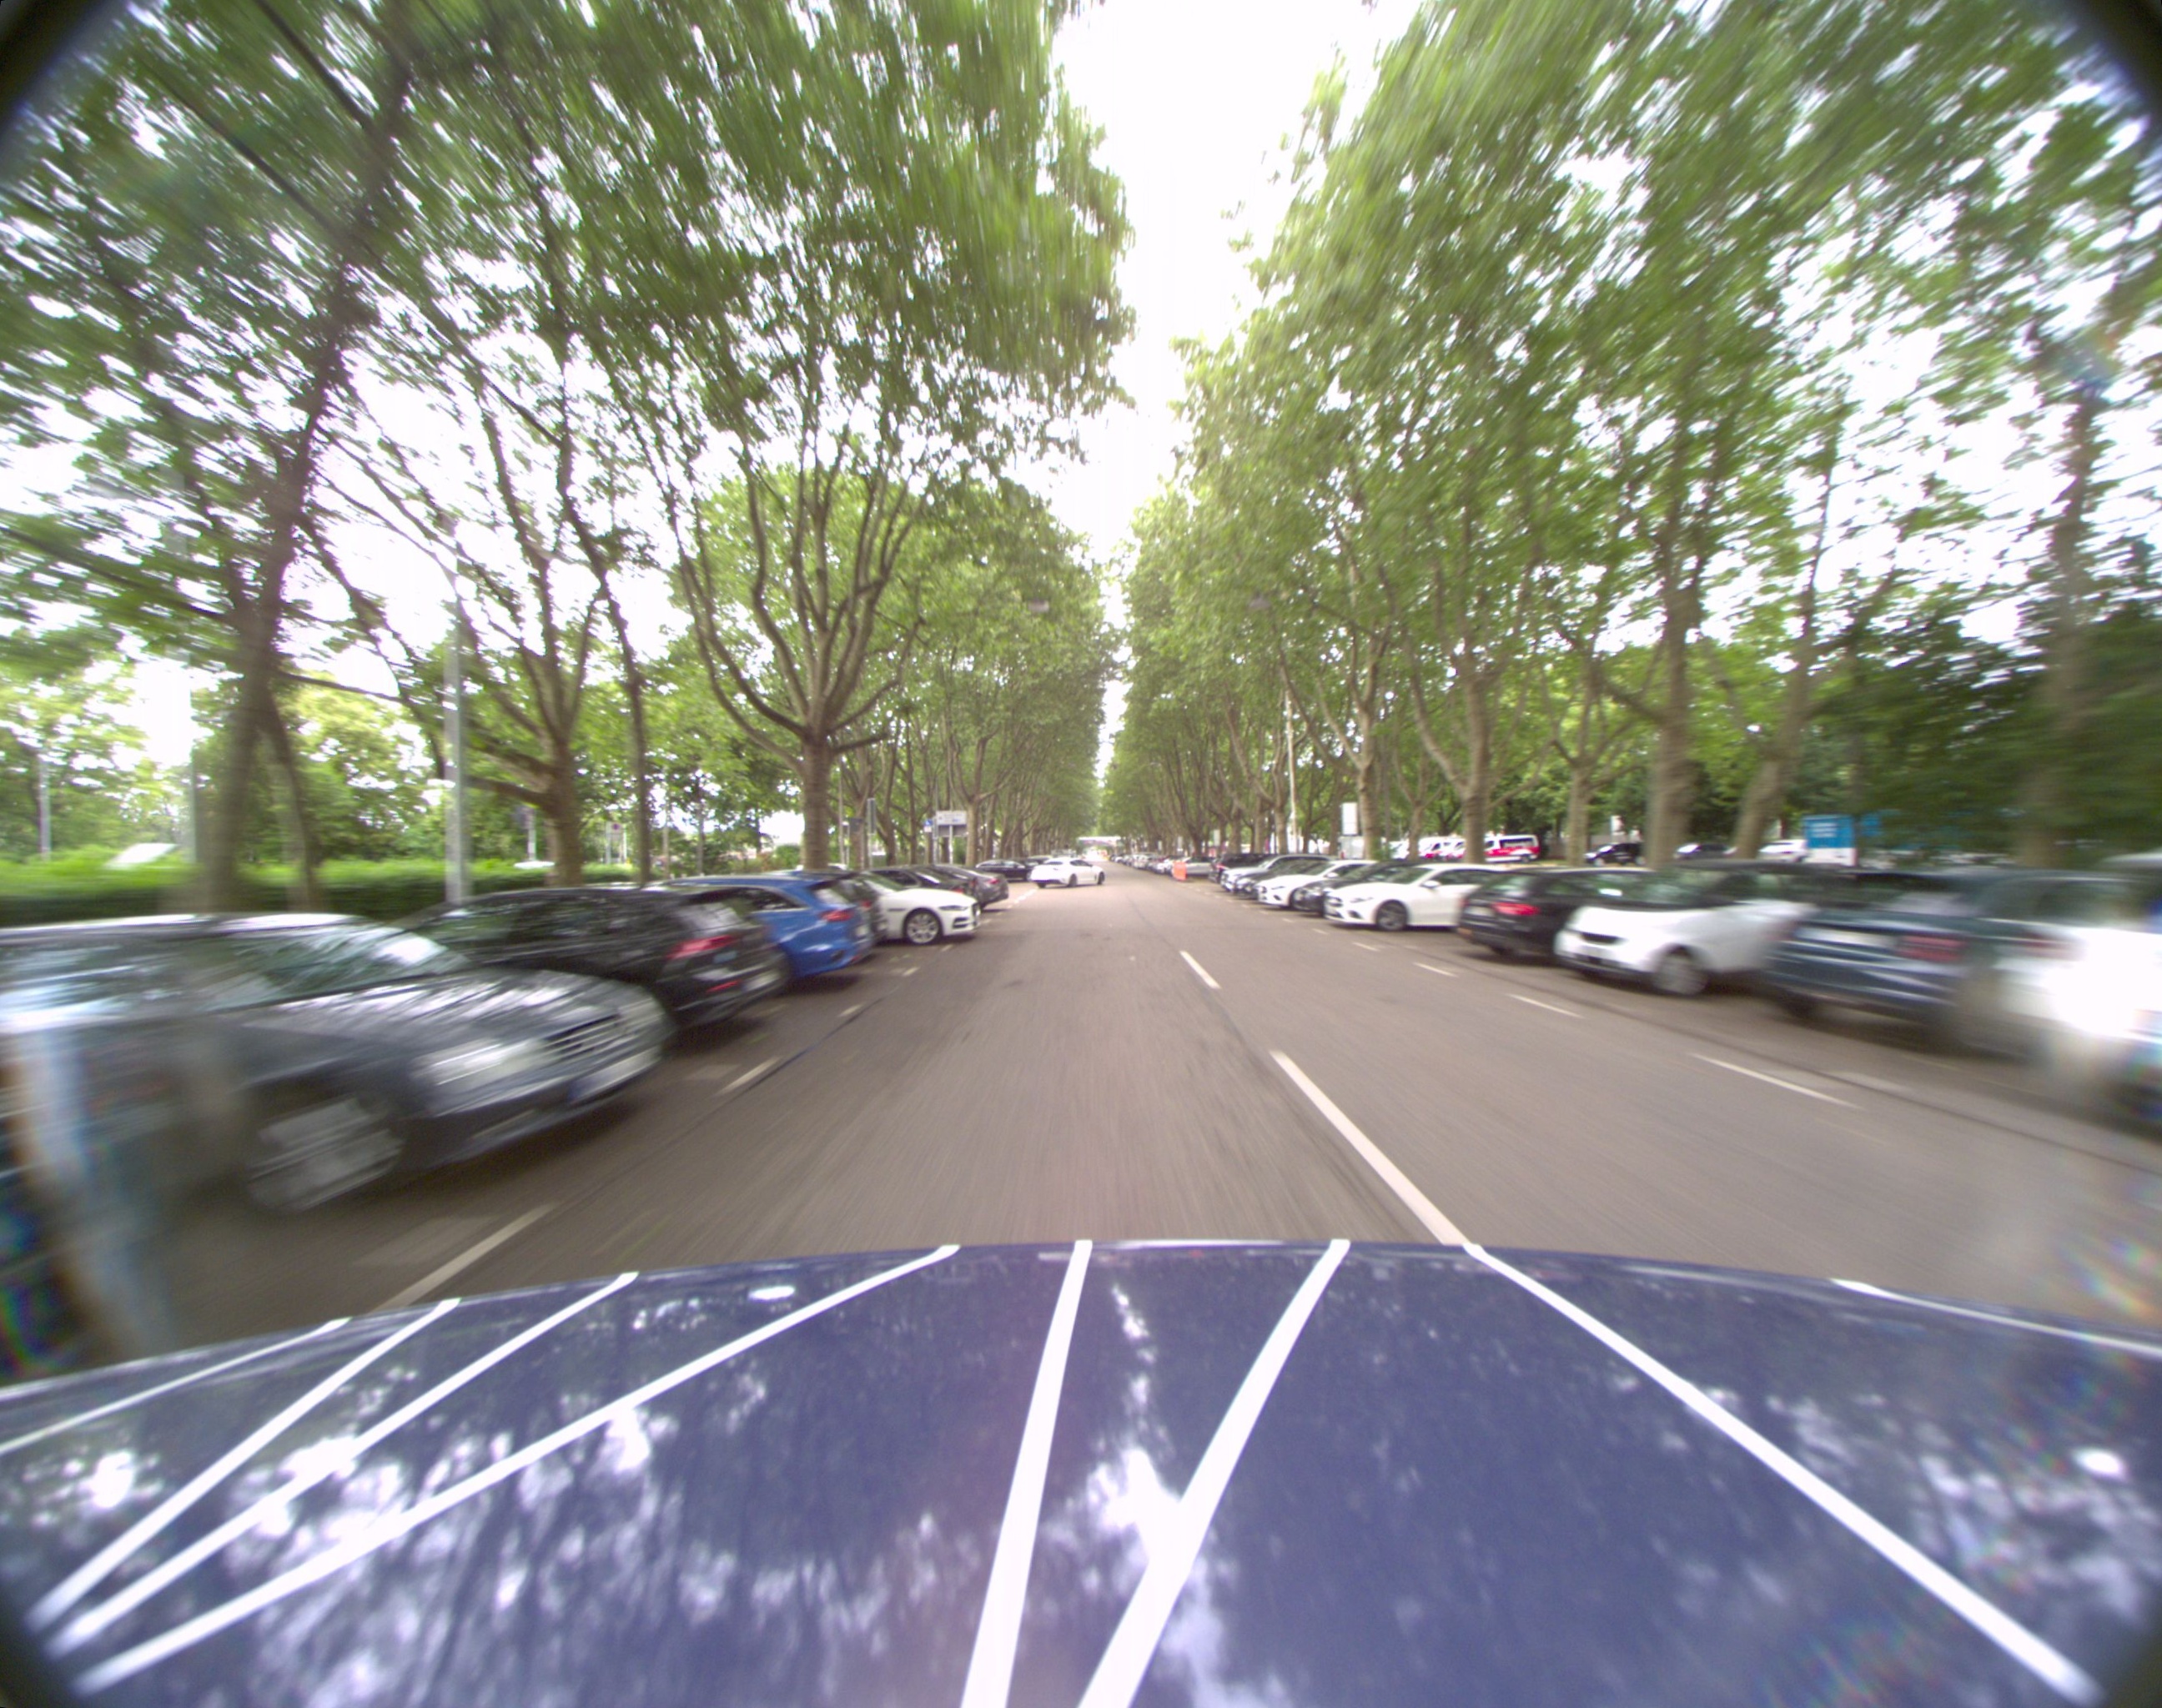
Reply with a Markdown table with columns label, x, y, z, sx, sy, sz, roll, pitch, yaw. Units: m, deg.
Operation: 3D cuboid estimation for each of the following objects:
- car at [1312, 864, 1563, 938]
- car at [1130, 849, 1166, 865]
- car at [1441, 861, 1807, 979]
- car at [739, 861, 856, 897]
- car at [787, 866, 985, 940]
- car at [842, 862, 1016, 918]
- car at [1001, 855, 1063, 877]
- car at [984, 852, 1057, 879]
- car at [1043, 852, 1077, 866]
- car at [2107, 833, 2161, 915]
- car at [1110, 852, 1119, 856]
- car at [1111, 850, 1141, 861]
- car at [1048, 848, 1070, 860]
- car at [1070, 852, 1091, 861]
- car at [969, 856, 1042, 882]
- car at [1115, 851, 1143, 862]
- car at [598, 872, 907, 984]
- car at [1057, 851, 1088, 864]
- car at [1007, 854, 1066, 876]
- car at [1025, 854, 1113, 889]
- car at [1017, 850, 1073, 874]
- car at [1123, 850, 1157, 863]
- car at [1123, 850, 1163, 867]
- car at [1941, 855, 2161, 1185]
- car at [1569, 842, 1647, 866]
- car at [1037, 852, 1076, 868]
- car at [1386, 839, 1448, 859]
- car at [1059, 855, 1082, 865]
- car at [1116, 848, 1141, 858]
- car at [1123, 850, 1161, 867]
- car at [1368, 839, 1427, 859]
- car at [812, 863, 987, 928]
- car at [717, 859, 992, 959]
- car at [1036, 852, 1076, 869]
| label | x | y | z | sx | sy | sz | roll | pitch | yaw |
| --- | --- | --- | --- | --- | --- | --- | --- | --- | --- |
| car | 7.481 | 0.969 | 16.252 | 4.420 | 1.435 | 2.046 | 1 | 0 | -4 |
| car | 8.716 | 0.393 | 98.585 | 4.491 | 1.740 | 2.001 | -3 | 0 | 6 |
| car | 7.708 | 0.901 | 11.113 | 3.996 | 1.445 | 1.856 | -2 | 1 | 2 |
| car | -12.035 | 1.059 | 32.431 | 4.288 | 1.453 | 1.784 | 0 | 0 | -1 |
| car | -4.200 | 1.040 | 16.780 | 3.839 | 1.409 | 1.719 | -2 | 0 | 2 |
| car | -4.315 | 1.014 | 21.970 | 4.597 | 1.409 | 1.719 | -2 | 0 | 4 |
| car | -3.970 | 0.959 | 61.619 | 4.673 | 1.514 | 2.001 | -3 | 0 | 7 |
| car | -3.997 | 0.743 | 51.028 | 4.676 | 1.514 | 2.000 | -3 | 0 | -1 |
| car | -2.980 | 0.744 | 108.936 | 4.673 | 1.740 | 2.001 | -3 | 0 | 6 |
| car | 23.651 | 0.327 | 14.489 | 5.362 | 1.587 | 2.094 | -2 | 1 | 0 |
| car | 8.922 | 0.089 | 201.989 | 2.307 | 0.919 | 1.132 | -2 | -2 | -1 |
| car | 7.812 | 0.266 | 131.178 | 4.919 | 1.817 | 2.000 | -2 | -2 | -2 |
| car | -4.232 | -0.033 | 143.844 | 3.997 | 2.274 | 2.000 | -2 | 1 | 1 |
| car | -0.189 | 0.640 | 178.606 | 4.919 | 1.817 | 2.000 | -2 | -2 | -2 |
| car | -4.726 | 0.930 | 48.220 | 4.383 | 1.469 | 1.999 | -2 | 1 | -1 |
| car | 8.807 | 0.402 | 139.022 | 4.919 | 1.817 | 2.000 | -2 | -2 | -2 |
| car | -4.999 | 1.104 | 11.946 | 4.025 | 1.439 | 1.784 | -2 | 0 | 2 |
| car | -1.268 | 0.574 | 121.679 | 4.673 | 1.740 | 2.001 | -3 | 0 | 6 |
| car | -3.702 | 0.902 | 63.912 | 4.673 | 1.514 | 2.001 | -3 | 0 | 6 |
| car | -0.504 | 0.809 | 36.984 | 1.995 | 1.375 | 4.687 | -3 | 0 | 32 |
| car | -3.214 | 0.694 | 68.859 | 4.673 | 1.891 | 2.001 | -3 | 0 | 6 |
| car | 8.998 | 0.434 | 115.968 | 4.919 | 1.817 | 2.000 | -2 | -2 | -2 |
| car | 7.283 | 0.561 | 88.932 | 4.491 | 1.740 | 2.001 | -3 | 0 | 6 |
| car | 7.621 | 0.838 | 4.005 | 3.996 | 1.672 | 1.855 | -2 | 1 | 2 |
| car | 34.996 | -0.011 | 50.532 | 3.998 | 1.478 | 1.800 | -2 | 1 | -3 |
| car | -3.107 | 0.770 | 98.079 | 4.673 | 1.740 | 2.001 | -3 | 0 | 6 |
| car | 35.428 | -0.523 | 80.326 | 5.466 | 2.009 | 2.393 | 1 | 1 | -1 |
| car | -1.918 | 0.997 | 136.900 | 3.998 | 1.641 | 1.999 | -2 | 1 | -3 |
| car | 9.761 | -0.123 | 157.255 | 4.919 | 1.817 | 2.000 | -2 | -2 | -2 |
| car | 7.507 | 0.527 | 92.894 | 4.491 | 1.740 | 2.001 | -3 | 0 | 6 |
| car | 35.210 | -0.565 | 84.640 | 5.466 | 2.009 | 2.393 | -2 | 1 | -1 |
| car | -4.486 | 1.013 | 19.342 | 4.029 | 1.409 | 1.910 | -2 | 0 | -4 |
| car | -4.120 | 0.981 | 14.427 | 4.535 | 1.613 | 2.054 | -2 | 0 | 2 |
| car | -3.062 | 0.807 | 94.188 | 4.673 | 1.740 | 2.001 | -3 | 0 | 6 |
